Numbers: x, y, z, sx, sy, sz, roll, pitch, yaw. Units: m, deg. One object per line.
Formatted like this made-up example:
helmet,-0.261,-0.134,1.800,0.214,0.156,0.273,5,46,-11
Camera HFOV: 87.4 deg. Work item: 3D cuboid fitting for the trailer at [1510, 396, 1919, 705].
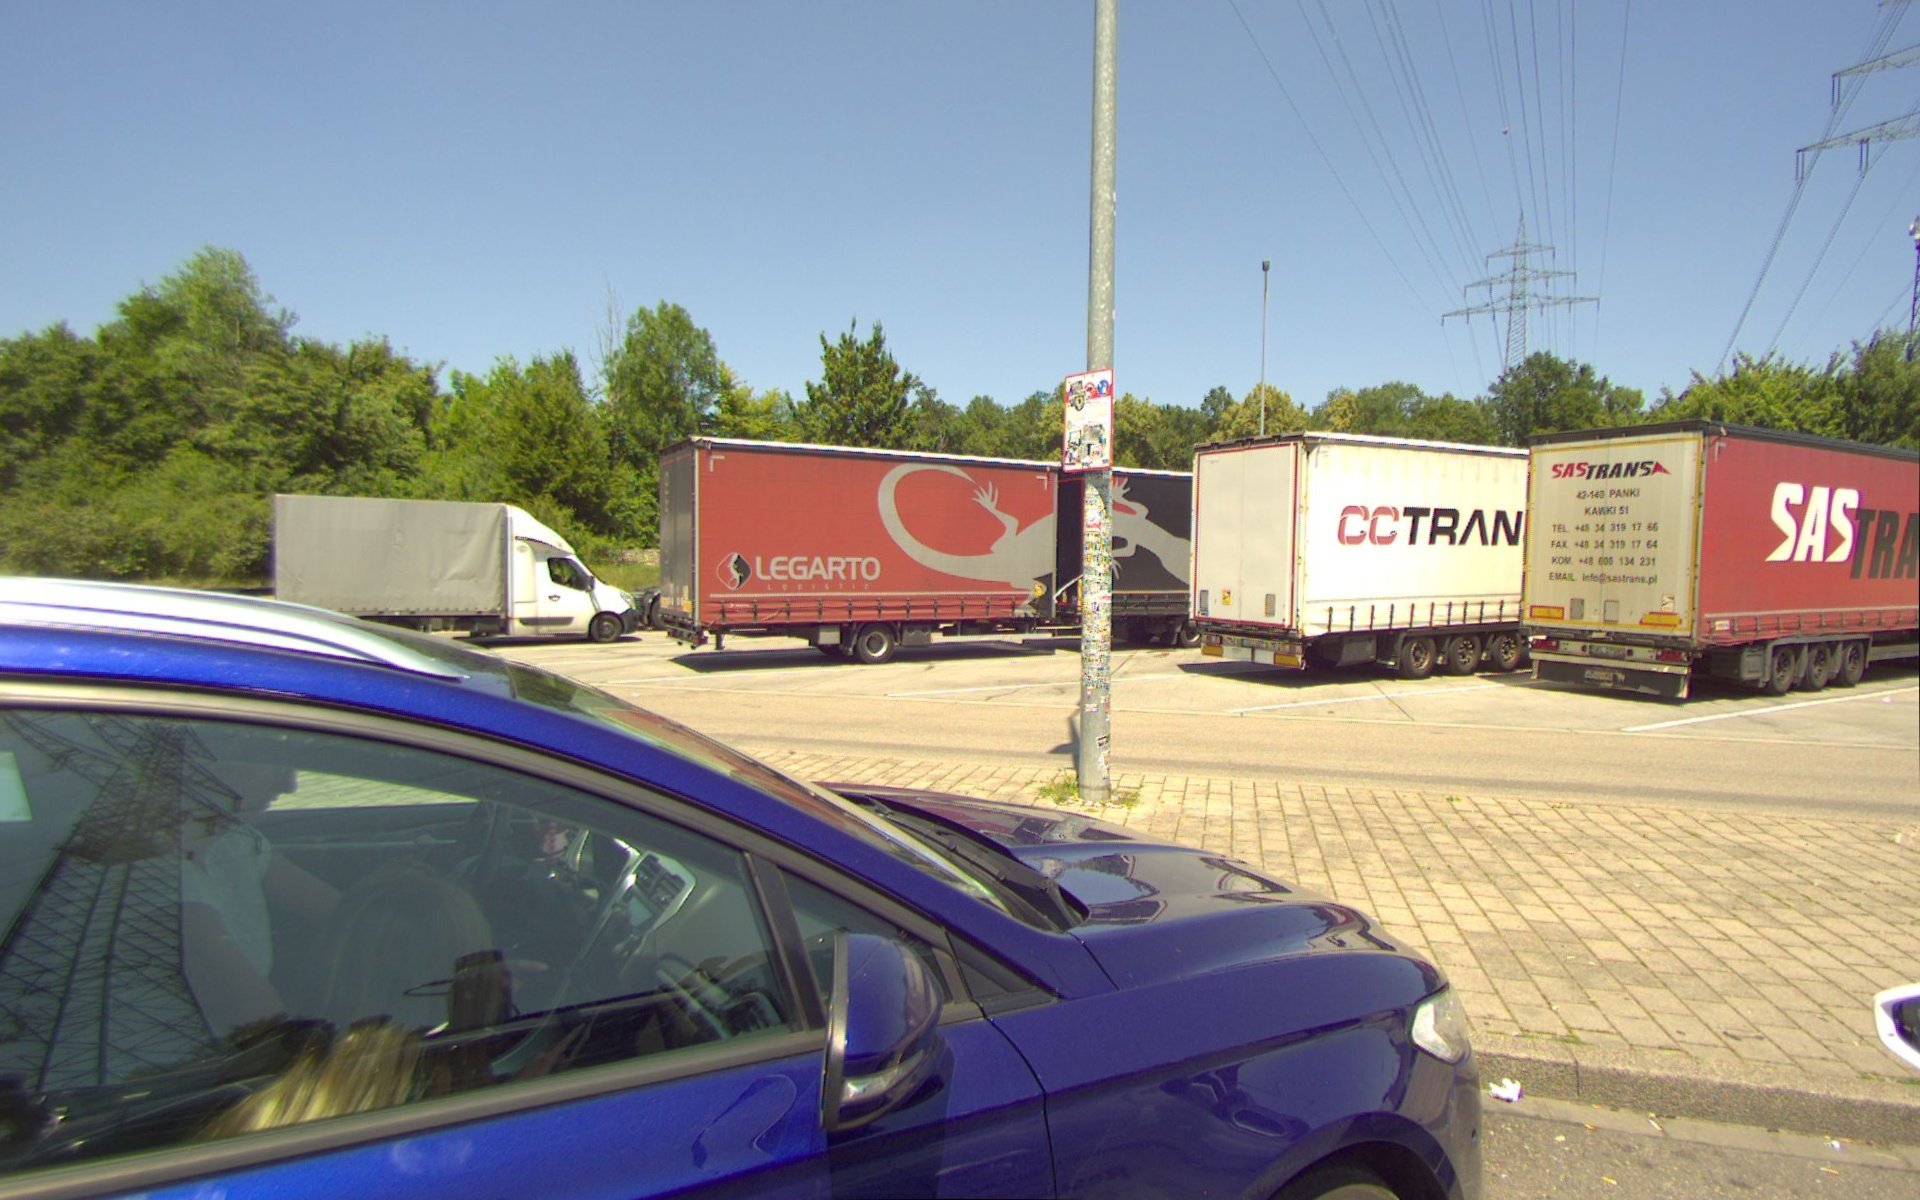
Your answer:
trailer,15.268,-0.659,18.430,13.046,4.276,2.786,0,0,-31

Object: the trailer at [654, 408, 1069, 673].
trailer,-1.808,-0.994,20.254,7.963,4.510,2.648,0,0,-31

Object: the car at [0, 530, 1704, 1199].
car,-0.955,0.668,1.480,4.362,1.437,1.731,1,0,-30

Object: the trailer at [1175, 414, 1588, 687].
trailer,8.066,-0.767,18.799,8.189,4.208,2.741,0,1,-30

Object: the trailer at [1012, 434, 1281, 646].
trailer,4.522,-1.262,24.072,6.076,4.505,2.665,0,1,-30

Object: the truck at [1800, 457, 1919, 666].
truck,21.451,-0.756,22.065,5.824,4.189,2.792,0,0,-30

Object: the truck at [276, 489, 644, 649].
truck,-11.080,-0.599,22.801,7.171,3.194,2.160,0,1,-30

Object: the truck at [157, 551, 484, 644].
truck,-15.386,-0.040,24.678,6.538,2.040,1.984,0,0,-31
